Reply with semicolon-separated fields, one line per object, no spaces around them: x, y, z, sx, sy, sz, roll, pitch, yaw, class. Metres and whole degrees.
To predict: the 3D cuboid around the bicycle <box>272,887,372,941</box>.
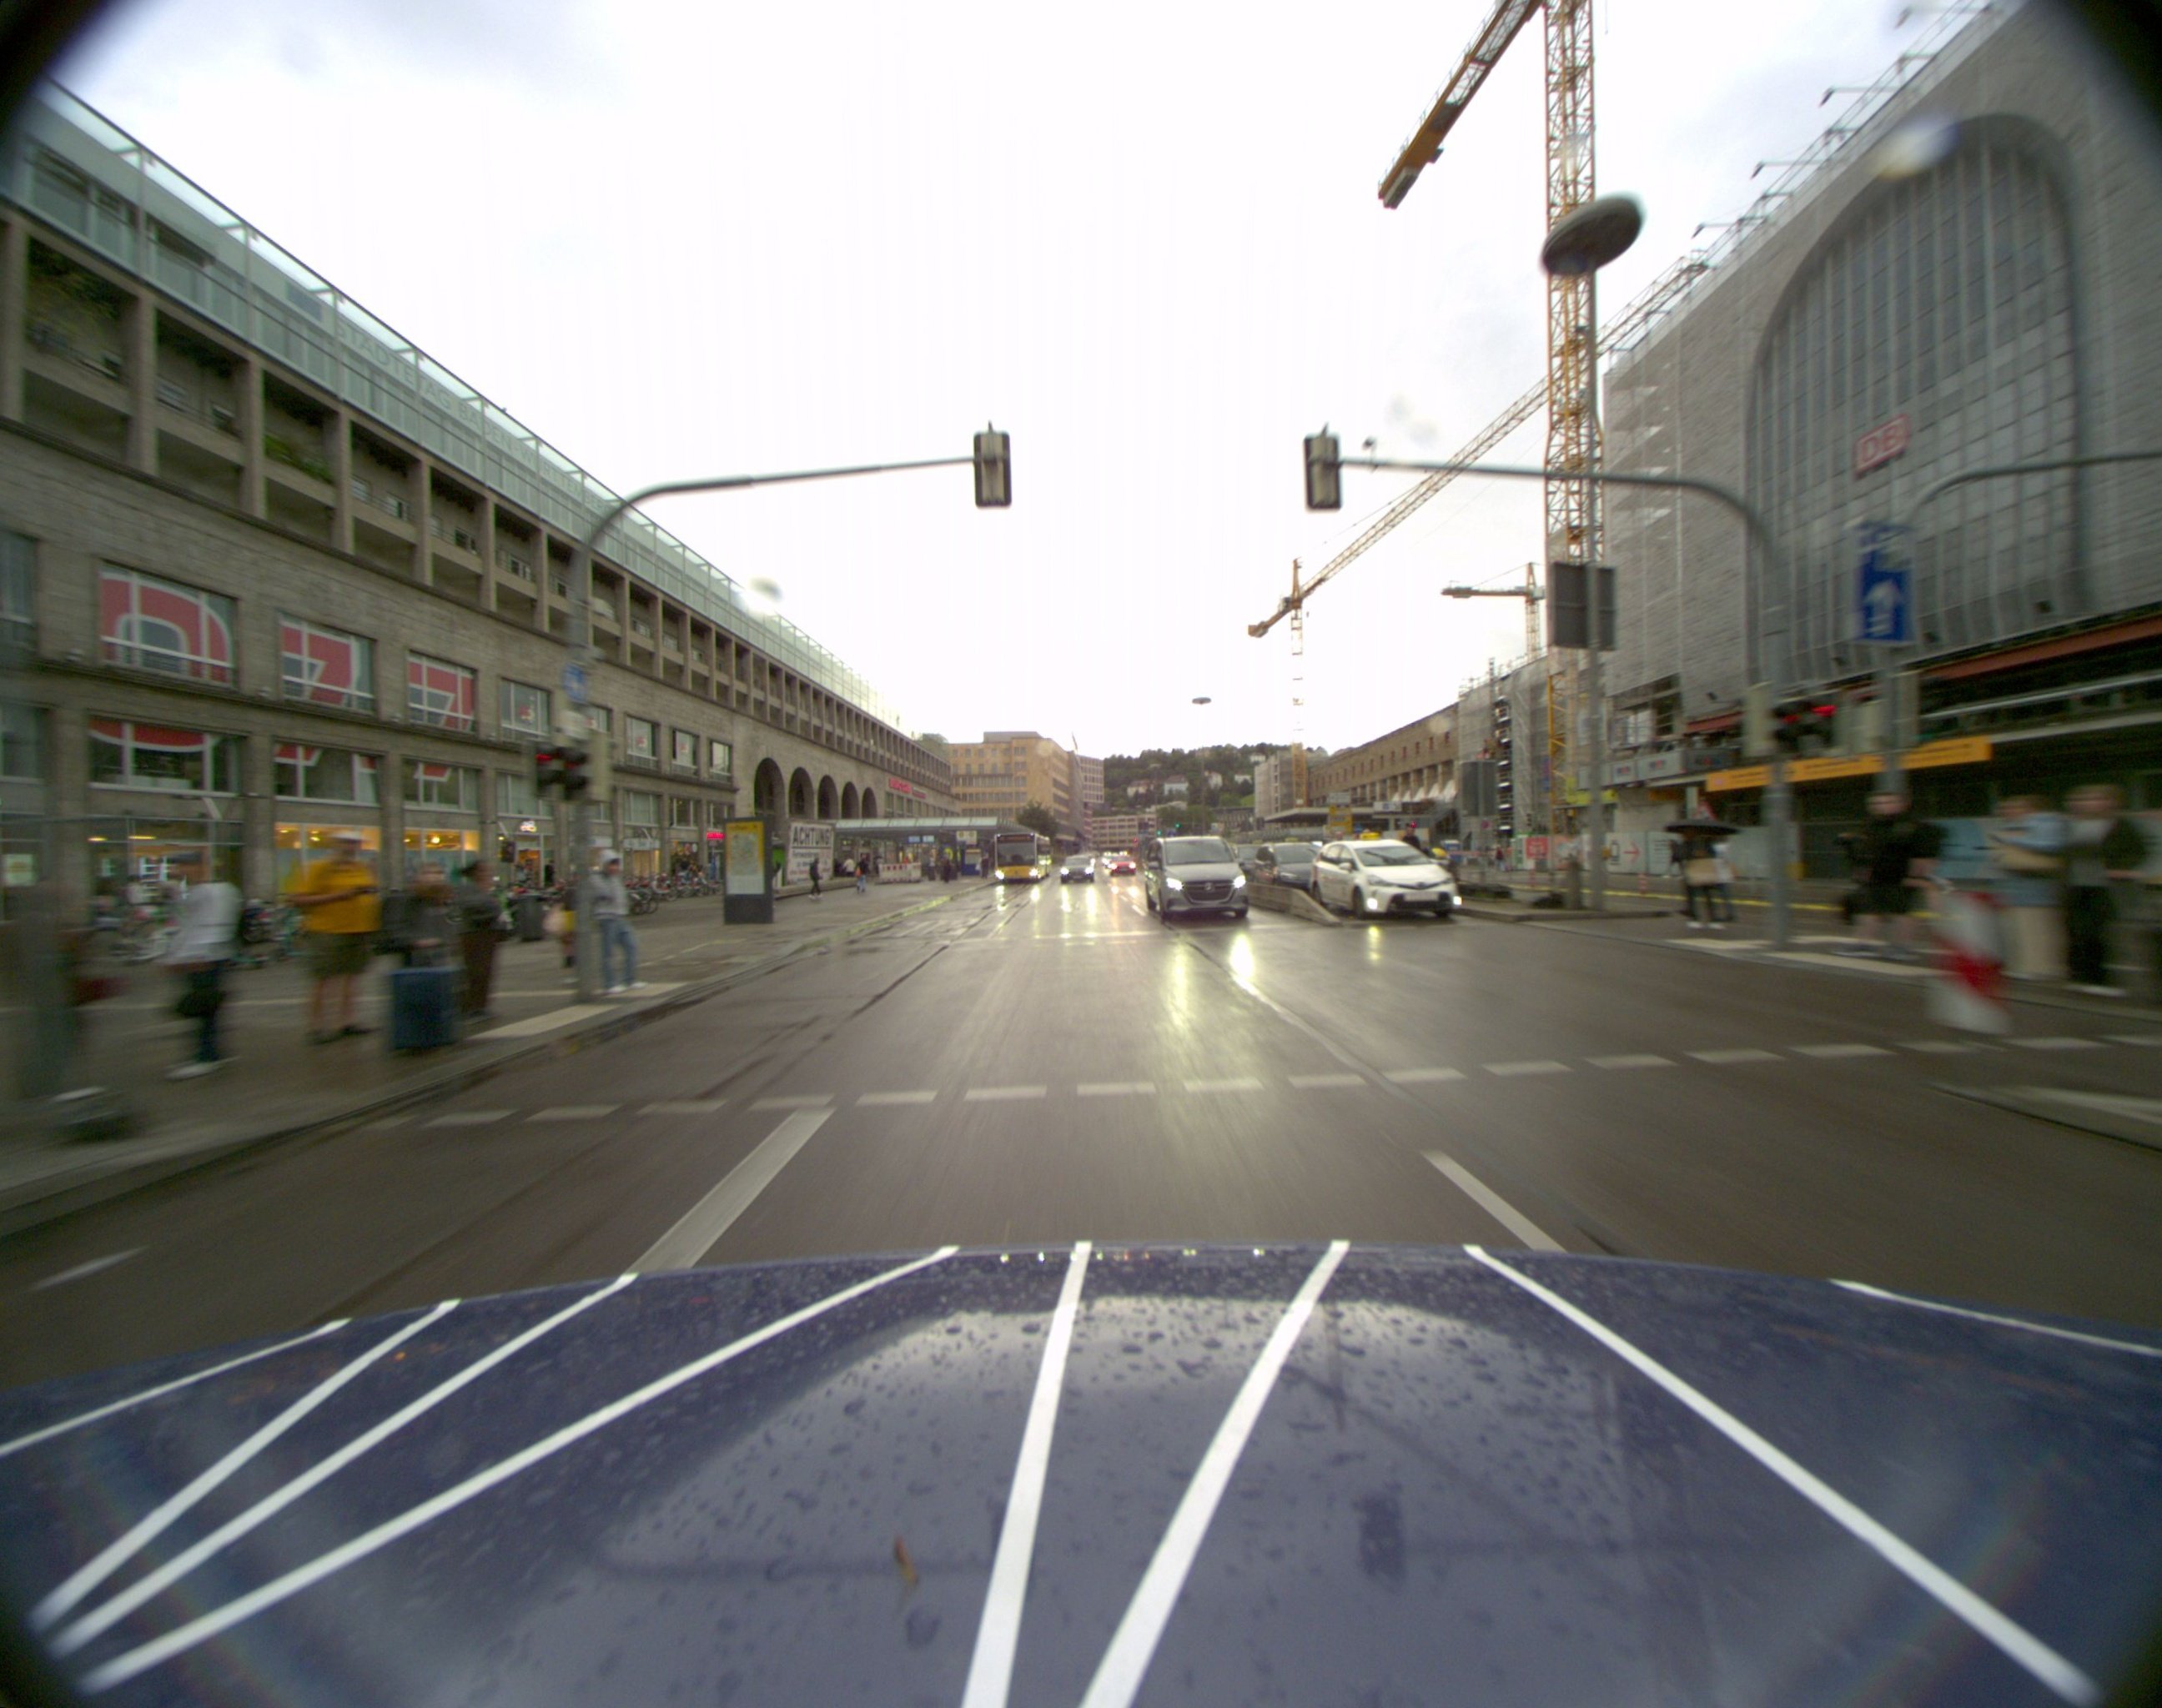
-19.548;1.543;19.576;1.994;1.328;0.618;0;1;2;bicycle

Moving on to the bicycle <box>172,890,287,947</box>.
-19.605;1.479;17.512;1.994;1.230;0.618;0;1;2;bicycle

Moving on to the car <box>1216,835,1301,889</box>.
6.390;0.248;27.990;1.998;1.776;4.847;-1;1;0;car

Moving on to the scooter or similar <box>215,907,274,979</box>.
-15.202;1.589;13.807;1.095;1.210;0.477;-2;2;32;scooter or similar

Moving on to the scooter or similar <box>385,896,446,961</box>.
-13.586;1.505;15.537;0.306;1.200;0.957;-2;1;2;scooter or similar

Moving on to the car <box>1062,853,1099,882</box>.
0.028;0.728;43.717;1.822;1.455;4.700;-4;0;3;car

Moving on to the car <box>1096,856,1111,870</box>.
3.065;1.153;101.680;1.872;1.715;3.901;-2;1;2;car

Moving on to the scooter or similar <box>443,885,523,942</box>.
-14.274;1.412;18.170;1.308;1.249;0.592;-2;1;-13;scooter or similar

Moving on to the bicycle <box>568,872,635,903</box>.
-18.515;1.280;29.416;2.093;1.133;0.888;0;1;-25;bicycle

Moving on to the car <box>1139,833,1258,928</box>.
2.657;0.538;18.497;1.998;1.893;5.250;-3;1;0;car

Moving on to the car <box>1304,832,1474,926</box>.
6.285;0.433;16.162;1.791;1.676;4.666;-1;1;1;car

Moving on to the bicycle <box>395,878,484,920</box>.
-19.461;1.344;23.095;1.996;1.230;0.617;0;1;-12;bicycle

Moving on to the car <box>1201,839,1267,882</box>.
6.755;0.247;34.059;1.999;1.776;4.453;-1;1;-1;car

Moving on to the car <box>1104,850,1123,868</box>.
3.354;0.496;79.300;1.872;1.747;3.901;-2;1;2;car

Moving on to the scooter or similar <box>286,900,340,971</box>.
-14.543;1.519;14.379;1.362;1.243;0.439;-2;2;35;scooter or similar

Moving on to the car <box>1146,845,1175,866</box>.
6.796;0.120;65.488;1.998;1.696;4.832;-1;1;0;car

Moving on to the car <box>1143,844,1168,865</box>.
6.960;0.030;71.320;1.998;1.851;4.833;-1;1;3;car

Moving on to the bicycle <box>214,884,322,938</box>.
-19.574;1.358;18.316;1.994;1.230;0.618;0;1;2;bicycle

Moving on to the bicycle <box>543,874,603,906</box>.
-18.698;1.311;28.001;1.737;1.103;0.687;0;1;-21;bicycle

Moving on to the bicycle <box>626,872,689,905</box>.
-17.469;1.398;31.394;0.616;1.230;2.193;1;1;36;bicycle

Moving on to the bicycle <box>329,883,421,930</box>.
-19.438;1.439;20.938;1.994;1.230;0.618;0;1;2;bicycle

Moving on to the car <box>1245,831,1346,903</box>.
6.157;0.320;22.383;1.718;1.881;4.609;-1;1;1;car

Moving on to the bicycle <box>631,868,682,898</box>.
-18.232;1.239;32.622;1.992;1.230;0.618;0;1;11;bicycle

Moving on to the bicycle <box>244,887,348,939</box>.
-19.550;1.466;18.937;1.994;1.230;0.618;0;1;2;bicycle

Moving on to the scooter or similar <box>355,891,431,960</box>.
-14.024;1.436;15.520;0.370;1.274;1.173;-2;1;2;scooter or similar

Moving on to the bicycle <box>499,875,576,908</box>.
-18.862;1.285;26.404;1.984;1.103;0.824;0;1;-14;bicycle

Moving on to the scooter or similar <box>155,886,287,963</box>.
-18.134;1.448;16.083;1.713;1.420;0.621;-3;2;-42;scooter or similar

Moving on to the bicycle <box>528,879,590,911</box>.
-18.692;1.452;27.237;1.696;1.103;0.673;0;1;-14;bicycle

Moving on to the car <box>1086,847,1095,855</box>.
2.366;-0.717;184.523;1.998;1.874;4.997;-2;1;3;car

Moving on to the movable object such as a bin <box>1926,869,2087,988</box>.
9.034;0.694;7.461;0.743;1.070;0.750;-1;1;23;movable object such as a bin

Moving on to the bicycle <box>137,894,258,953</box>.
-19.409;1.511;16.707;1.994;1.230;0.618;0;1;2;bicycle

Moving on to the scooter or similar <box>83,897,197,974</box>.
-17.970;1.515;14.569;0.622;1.253;1.748;-3;1;-26;scooter or similar

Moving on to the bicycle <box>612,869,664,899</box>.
-18.662;1.264;32.013;1.992;1.230;0.618;0;1;11;bicycle

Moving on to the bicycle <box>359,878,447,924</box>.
-19.348;1.341;21.691;1.994;1.258;0.618;0;1;2;bicycle

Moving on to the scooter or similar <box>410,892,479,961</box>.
-12.625;1.420;15.099;0.325;1.230;1.099;-2;1;2;scooter or similar

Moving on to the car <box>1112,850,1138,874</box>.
3.031;0.552;53.028;1.709;1.485;3.670;-2;1;2;car

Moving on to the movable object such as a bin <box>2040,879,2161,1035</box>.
8.065;0.738;5.600;1.004;1.070;0.750;-1;1;23;movable object such as a bin

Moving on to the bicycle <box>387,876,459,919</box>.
-19.317;1.259;22.322;1.620;1.218;0.618;0;1;2;bicycle

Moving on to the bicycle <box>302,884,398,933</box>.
-19.498;1.450;20.284;1.994;1.230;0.618;0;1;2;bicycle

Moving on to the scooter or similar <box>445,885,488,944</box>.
-13.921;1.339;17.197;0.570;1.224;1.366;-4;2;-45;scooter or similar

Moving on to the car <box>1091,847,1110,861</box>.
2.282;-0.011;87.449;1.998;1.549;3.909;-2;1;3;car

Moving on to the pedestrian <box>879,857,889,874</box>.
-18.904;1.057;72.781;0.795;1.609;0.870;-1;1;-9;pedestrian

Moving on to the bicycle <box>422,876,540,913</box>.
-19.213;1.292;24.407;2.887;1.103;0.879;0;1;-11;bicycle

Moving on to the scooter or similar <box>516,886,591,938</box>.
-12.744;1.386;18.379;0.437;1.123;1.368;-4;0;27;scooter or similar
